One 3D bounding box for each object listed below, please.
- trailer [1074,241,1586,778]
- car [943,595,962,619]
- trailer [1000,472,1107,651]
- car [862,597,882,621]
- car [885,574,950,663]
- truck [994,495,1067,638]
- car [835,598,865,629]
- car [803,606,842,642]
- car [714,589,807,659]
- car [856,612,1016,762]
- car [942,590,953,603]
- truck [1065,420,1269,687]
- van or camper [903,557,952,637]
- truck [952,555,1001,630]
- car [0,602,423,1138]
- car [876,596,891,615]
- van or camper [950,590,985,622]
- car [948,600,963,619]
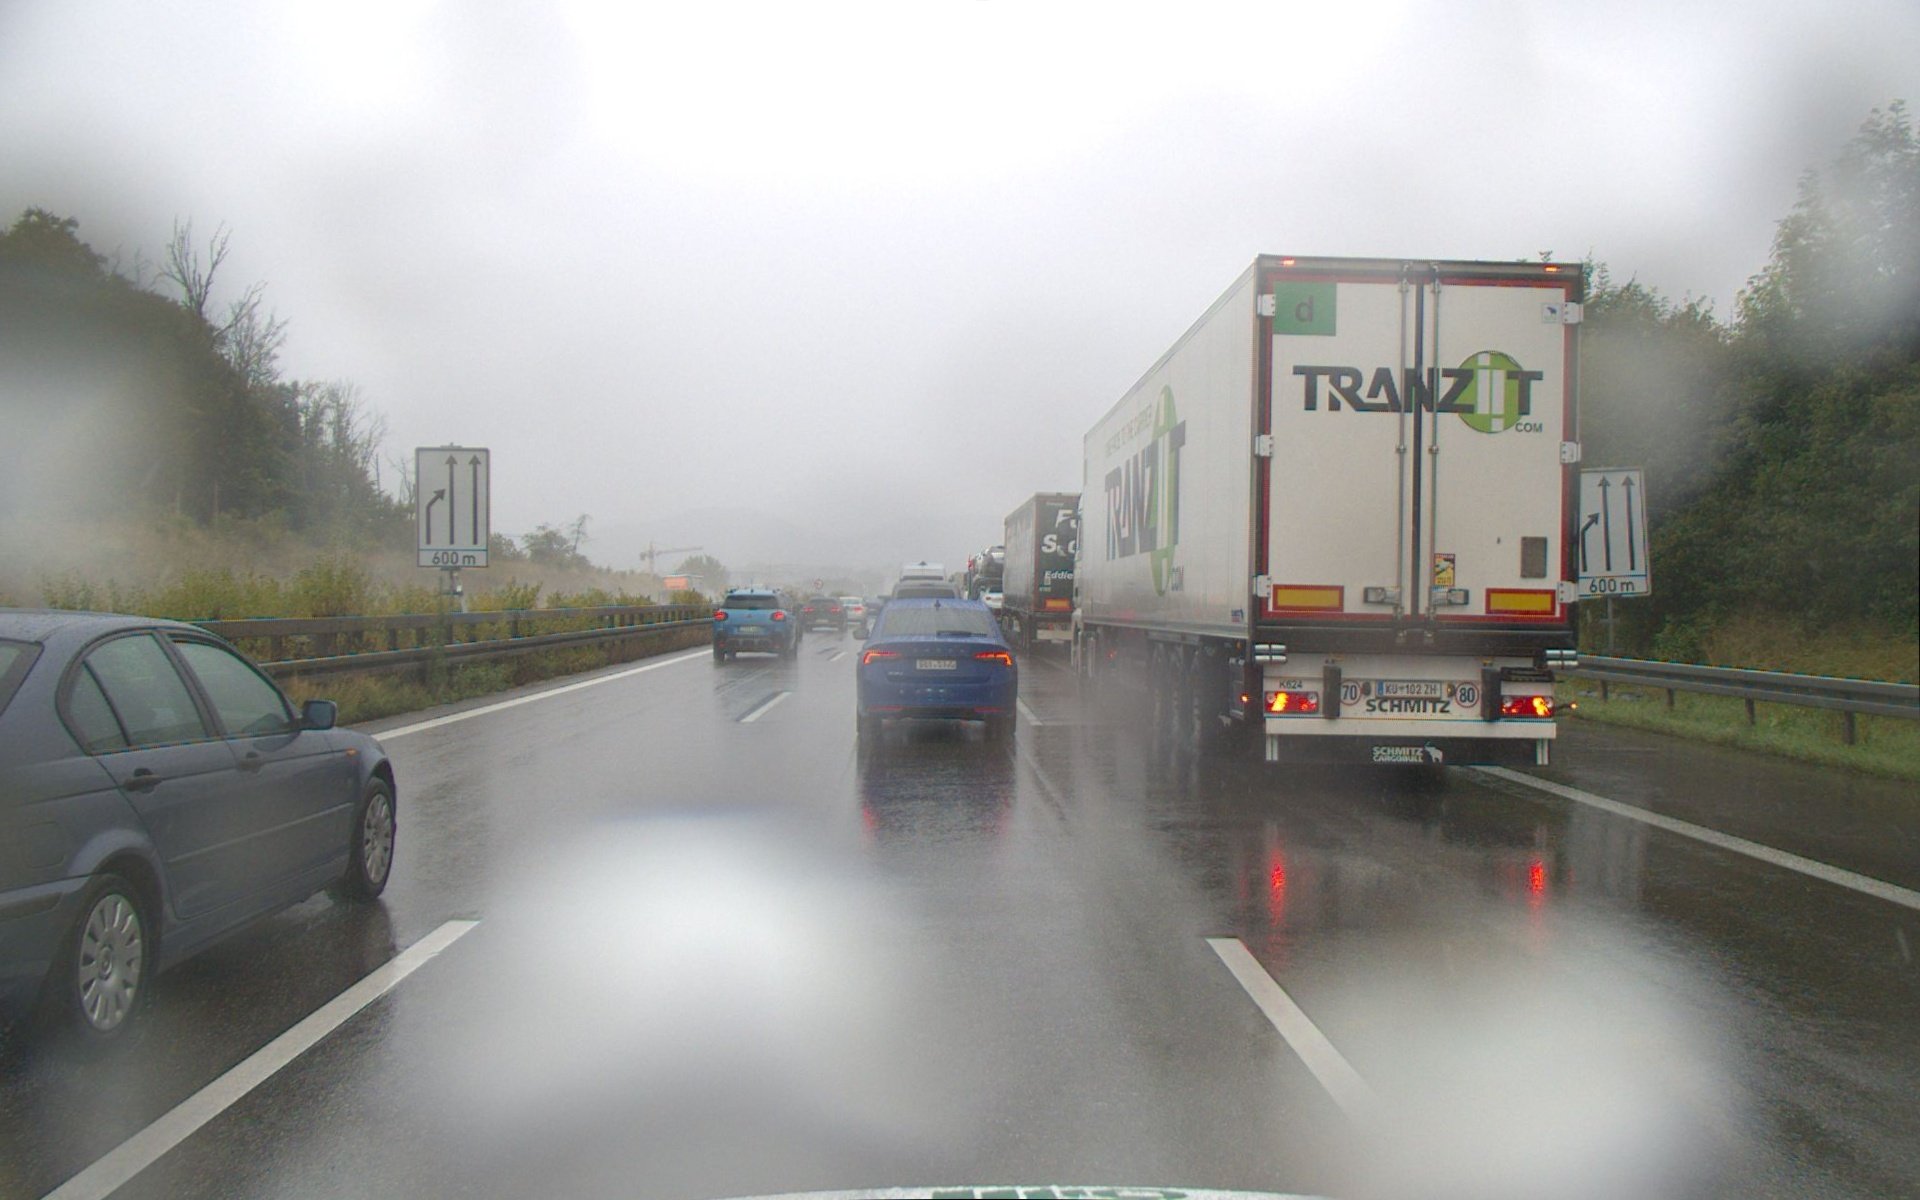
[{"bbox_3d":[3.336,-0.739,19.932,2.577,4.083,14.625,0,0,-1],"label":"trailer"},{"bbox_3d":[-0.610,0.550,132.489,1.419,1.815,3.408,1,0,-1],"label":"car"},{"bbox_3d":[2.382,-0.961,45.180,2.005,4.249,11.445,0,0,-1],"label":"trailer"},{"bbox_3d":[-6.807,0.662,127.854,1.419,1.815,3.408,1,0,-1],"label":"car"},{"bbox_3d":[-0.895,0.360,35.295,1.309,1.811,3.321,0,0,-1],"label":"car"},{"bbox_3d":[2.169,-1.024,51.613,2.005,4.266,3.999,0,0,-1],"label":"truck"},{"bbox_3d":[-5.720,0.690,86.301,1.410,1.560,3.321,0,0,-1],"label":"car"},{"bbox_3d":[-5.789,0.998,69.919,1.410,1.445,3.321,0,0,-1],"label":"car"},{"bbox_3d":[-4.613,0.520,38.685,1.686,1.550,4.000,0,0,0],"label":"car"},{"bbox_3d":[-0.260,0.893,18.702,1.602,1.470,3.999,0,0,-1],"label":"car"},{"bbox_3d":[-1.694,-0.469,223.587,1.419,1.815,3.408,1,0,-1],"label":"car"},{"bbox_3d":[3.183,-0.699,26.620,2.577,3.894,4.790,0,0,-1],"label":"truck"},{"bbox_3d":[-1.213,-0.131,61.528,1.761,2.855,4.766,0,0,-1],"label":"van or camper"},{"bbox_3d":[0.761,-0.395,81.079,1.953,3.481,8.028,0,1,-2],"label":"truck"},{"bbox_3d":[-3.505,0.730,6.314,1.683,1.424,4.228,0,0,-2],"label":"car"},{"bbox_3d":[-7.647,0.536,165.756,1.419,1.815,3.408,1,0,-1],"label":"car"},{"bbox_3d":[0.387,0.307,90.942,1.736,1.653,4.483,0,1,-2],"label":"van or camper"},{"bbox_3d":[-0.394,0.842,143.897,1.223,1.538,3.107,-1,1,-2],"label":"car"}]
